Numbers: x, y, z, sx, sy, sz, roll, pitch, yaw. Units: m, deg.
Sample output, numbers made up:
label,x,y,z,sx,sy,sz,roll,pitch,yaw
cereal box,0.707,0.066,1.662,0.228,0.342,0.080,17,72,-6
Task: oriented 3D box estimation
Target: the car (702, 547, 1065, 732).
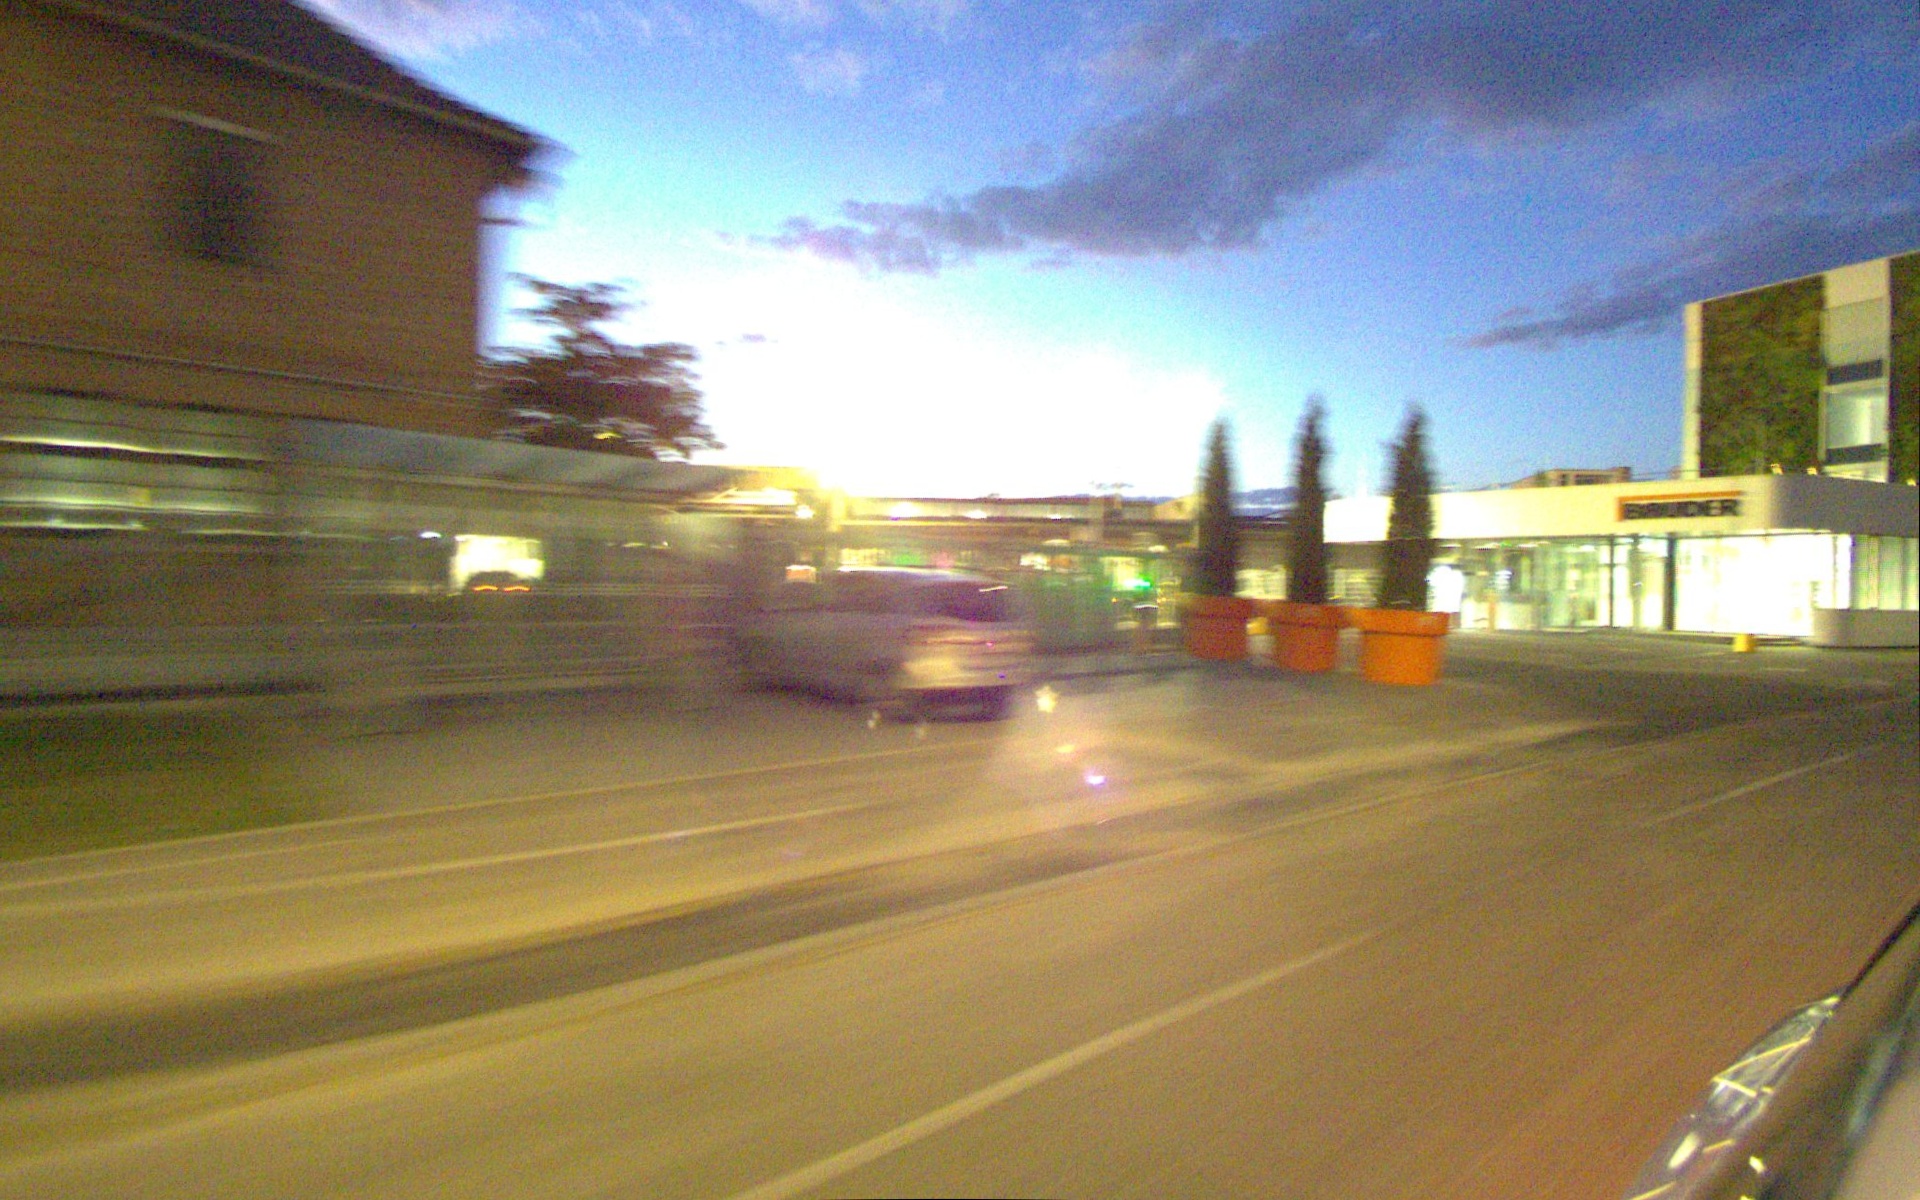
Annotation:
label,x,y,z,sx,sy,sz,roll,pitch,yaw
car,-1.059,0.297,11.825,1.861,1.666,4.331,1,3,-44
